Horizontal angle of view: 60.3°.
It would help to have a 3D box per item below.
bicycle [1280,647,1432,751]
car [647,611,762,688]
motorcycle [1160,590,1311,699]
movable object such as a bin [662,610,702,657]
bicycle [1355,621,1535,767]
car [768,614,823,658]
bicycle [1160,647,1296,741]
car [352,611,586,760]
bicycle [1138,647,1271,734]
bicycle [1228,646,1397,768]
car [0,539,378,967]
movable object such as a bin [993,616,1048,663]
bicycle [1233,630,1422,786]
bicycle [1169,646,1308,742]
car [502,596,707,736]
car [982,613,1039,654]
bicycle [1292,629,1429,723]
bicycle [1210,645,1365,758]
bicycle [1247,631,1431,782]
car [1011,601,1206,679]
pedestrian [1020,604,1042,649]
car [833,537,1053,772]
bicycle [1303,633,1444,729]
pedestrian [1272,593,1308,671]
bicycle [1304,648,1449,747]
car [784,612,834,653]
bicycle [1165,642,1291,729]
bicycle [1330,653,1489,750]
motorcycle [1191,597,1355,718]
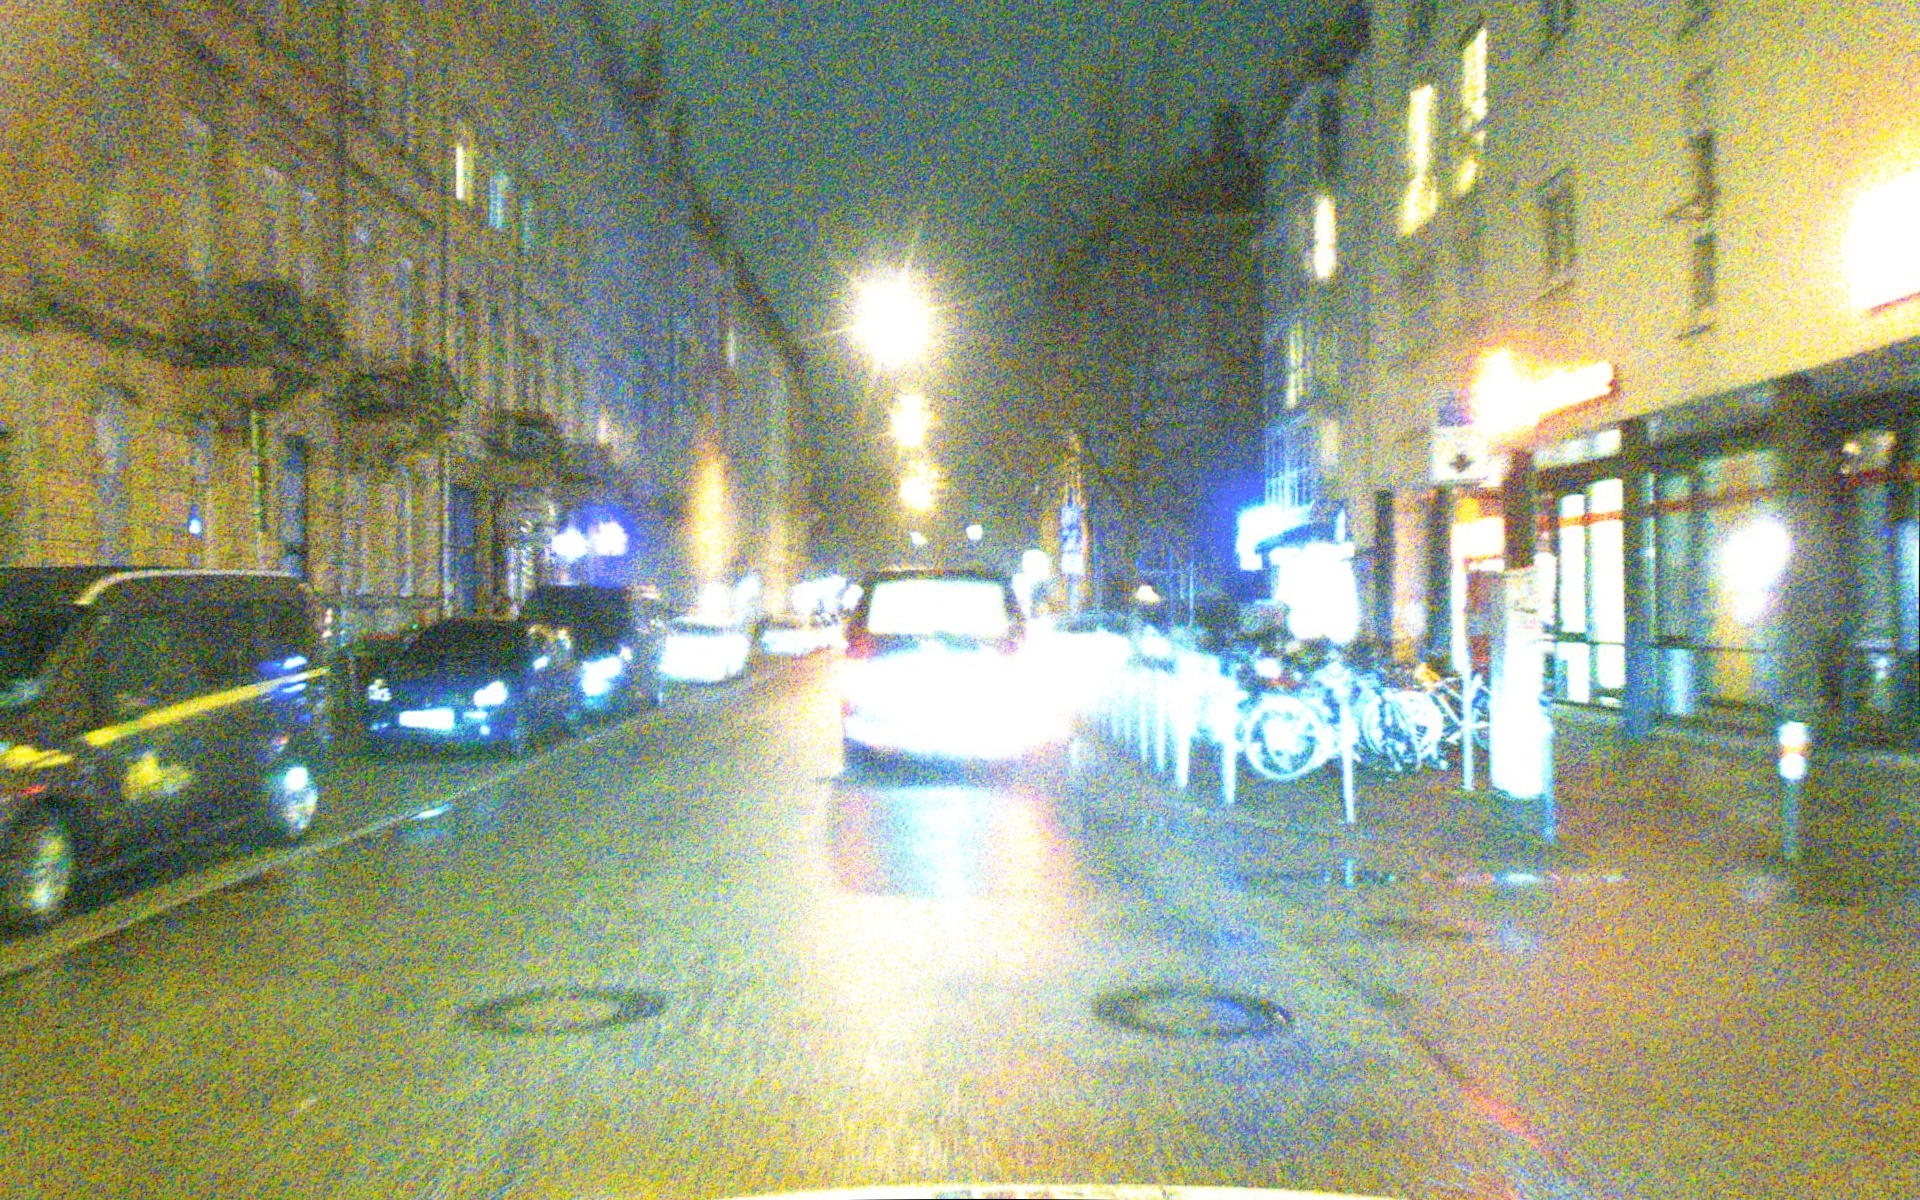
[{"bbox_3d":[4.340,1.082,18.154,1.497,0.968,0.366,-6,-1,3],"label":"bicycle"},{"bbox_3d":[-5.600,1.045,36.790,1.731,1.509,4.771,3,0,0],"label":"car"},{"bbox_3d":[4.532,0.728,27.353,2.242,1.616,0.866,-4,-1,-2],"label":"motorcycle"},{"bbox_3d":[-8.916,1.078,53.109,1.079,1.479,1.378,-1,-1,-3],"label":"movable object such as a bin"},{"bbox_3d":[4.611,0.889,15.760,1.498,1.223,0.366,-6,-1,-3],"label":"bicycle"},{"bbox_3d":[-5.906,1.265,59.552,1.638,1.517,3.720,1,-1,-1],"label":"car"},{"bbox_3d":[3.232,1.125,20.002,1.499,0.968,0.366,-6,-1,-5],"label":"bicycle"},{"bbox_3d":[-5.365,0.877,18.522,1.537,1.485,3.719,0,0,-1],"label":"car"},{"bbox_3d":[3.220,1.189,21.862,1.635,0.968,0.366,-6,-1,6],"label":"bicycle"},{"bbox_3d":[3.484,1.054,16.381,1.498,1.041,0.366,-6,-1,-3],"label":"bicycle"},{"bbox_3d":[-5.125,0.674,9.520,1.864,1.861,4.828,0,0,-1],"label":"car"},{"bbox_3d":[1.905,1.229,52.227,1.327,1.454,1.185,0,-1,-37],"label":"movable object such as a bin"},{"bbox_3d":[3.273,0.959,14.795,1.497,1.223,0.366,-6,-1,1],"label":"bicycle"},{"bbox_3d":[3.294,1.109,19.599,1.499,0.968,0.366,-6,-1,-5],"label":"bicycle"},{"bbox_3d":[-5.133,0.887,24.651,1.955,1.861,5.206,0,0,-1],"label":"car"},{"bbox_3d":[1.862,1.258,62.777,1.953,1.490,4.415,0,-1,-1],"label":"car"},{"bbox_3d":[4.839,0.914,20.007,1.499,0.968,0.366,-6,-1,-5],"label":"bicycle"},{"bbox_3d":[3.492,1.076,17.688,1.497,1.041,0.366,-6,-1,3],"label":"bicycle"},{"bbox_3d":[3.485,0.975,15.251,1.498,1.223,0.366,-6,-1,-3],"label":"bicycle"},{"bbox_3d":[3.528,0.942,39.832,4.422,1.557,1.779,-3,-1,-2],"label":"car"},{"bbox_3d":[2.967,1.090,69.311,0.844,1.819,1.083,-2,0,2],"label":"pedestrian"},{"bbox_3d":[-0.167,0.493,17.045,1.955,2.085,4.693,0,0,-1],"label":"car"},{"bbox_3d":[4.864,0.950,19.463,1.500,0.968,0.366,-6,-1,-6],"label":"bicycle"},{"bbox_3d":[7.823,0.756,39.213,0.688,1.819,0.624,-2,0,2],"label":"pedestrian"},{"bbox_3d":[4.774,1.114,18.981,1.499,0.968,0.366,-6,-1,-5],"label":"bicycle"},{"bbox_3d":[-6.081,1.294,66.897,1.738,1.600,4.133,0,-1,-1],"label":"car"},{"bbox_3d":[3.442,1.099,21.324,1.497,0.968,0.366,-6,-1,6],"label":"bicycle"},{"bbox_3d":[4.679,1.051,17.262,1.497,0.848,0.325,-6,-1,3],"label":"bicycle"},{"bbox_3d":[4.548,0.828,24.139,2.129,1.574,0.866,-4,-1,-2],"label":"motorcycle"}]
